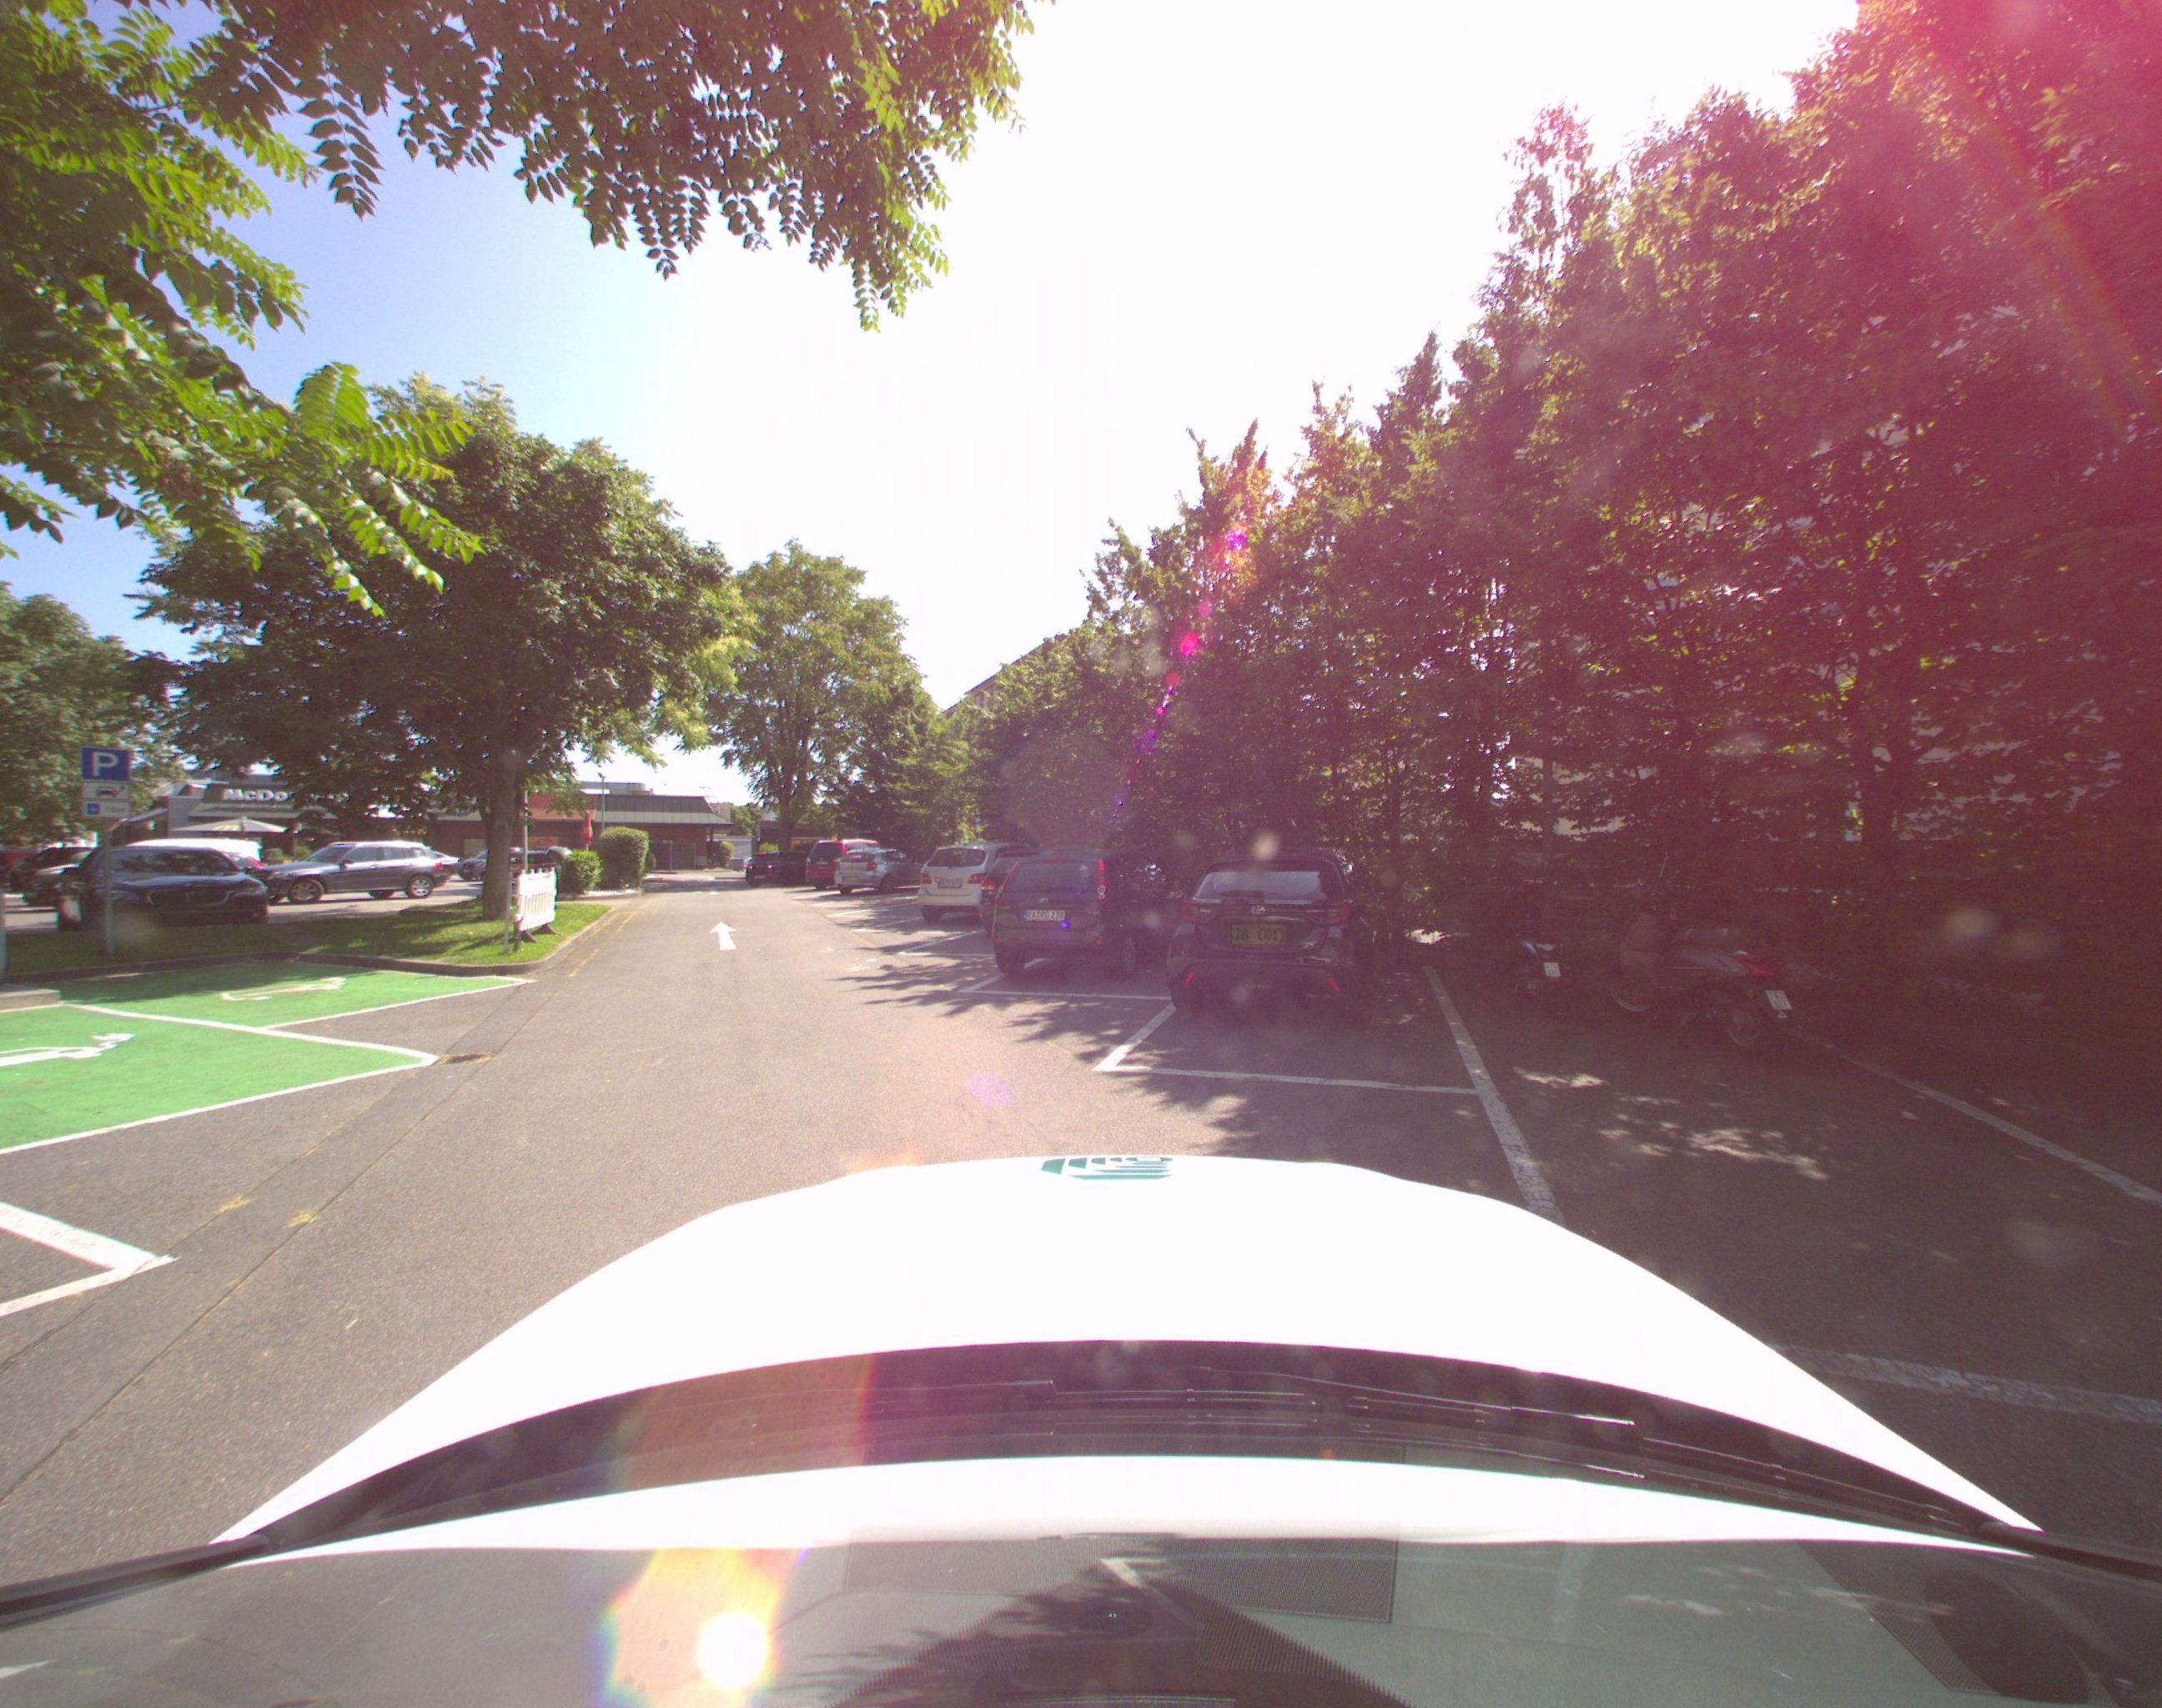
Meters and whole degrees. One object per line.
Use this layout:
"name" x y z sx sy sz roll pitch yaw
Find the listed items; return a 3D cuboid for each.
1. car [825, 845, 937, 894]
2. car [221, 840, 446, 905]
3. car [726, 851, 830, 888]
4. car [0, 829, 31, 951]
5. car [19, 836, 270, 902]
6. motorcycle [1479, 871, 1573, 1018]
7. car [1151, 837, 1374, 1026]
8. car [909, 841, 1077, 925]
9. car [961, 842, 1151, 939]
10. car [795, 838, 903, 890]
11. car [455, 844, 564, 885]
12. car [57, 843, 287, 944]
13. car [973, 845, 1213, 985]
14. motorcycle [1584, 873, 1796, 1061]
"car" -6.552 0.470 27.103 1.754 1.475 4.018 -1 1 17
"car" -21.179 0.469 23.352 1.841 1.686 4.388 0 0 18
"car" -12.138 0.582 32.871 1.754 1.389 4.019 -1 0 19
"car" -17.072 0.461 11.795 4.311 1.686 1.874 0 -2 33
"car" -26.692 0.383 23.437 1.841 1.686 4.334 0 0 19
"motorcycle" 4.000 0.746 7.404 0.469 1.141 1.613 -1 0 19
"car" 2.117 0.591 8.553 1.641 1.469 3.925 -1 1 22
"car" -1.747 0.521 17.566 1.752 1.572 4.023 -1 1 25
"car" -0.293 0.554 14.950 1.752 1.469 4.024 -1 1 27
"car" -8.453 0.302 30.045 1.754 1.734 4.020 -2 0 19
"car" -25.484 0.432 36.321 4.315 1.685 1.872 0 2 21
"car" -15.273 0.580 13.638 4.311 1.453 1.874 0 -2 33
"car" 0.380 0.643 10.868 1.683 1.453 4.023 -1 1 25
"motorcycle" 4.418 0.745 6.053 0.565 1.169 1.609 -1 0 9
